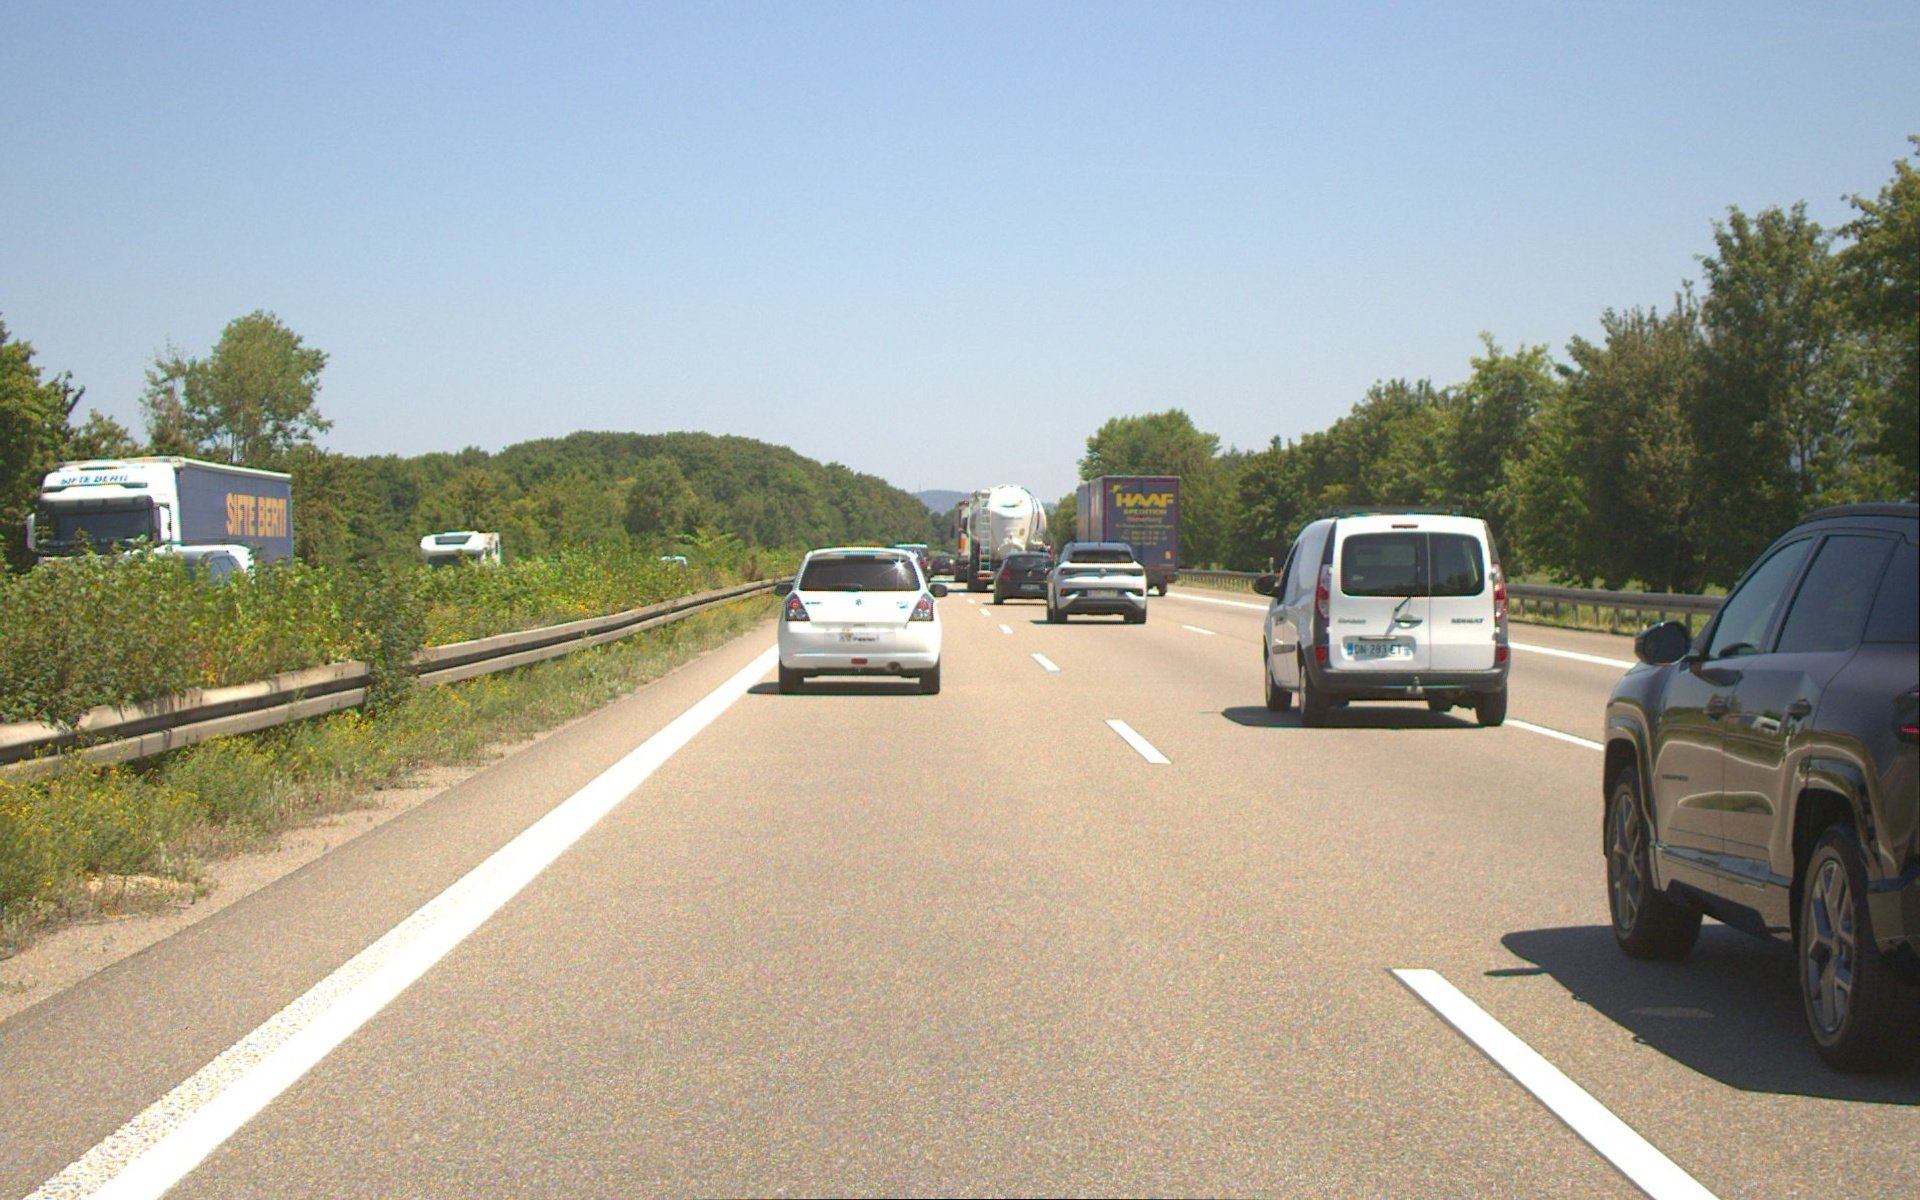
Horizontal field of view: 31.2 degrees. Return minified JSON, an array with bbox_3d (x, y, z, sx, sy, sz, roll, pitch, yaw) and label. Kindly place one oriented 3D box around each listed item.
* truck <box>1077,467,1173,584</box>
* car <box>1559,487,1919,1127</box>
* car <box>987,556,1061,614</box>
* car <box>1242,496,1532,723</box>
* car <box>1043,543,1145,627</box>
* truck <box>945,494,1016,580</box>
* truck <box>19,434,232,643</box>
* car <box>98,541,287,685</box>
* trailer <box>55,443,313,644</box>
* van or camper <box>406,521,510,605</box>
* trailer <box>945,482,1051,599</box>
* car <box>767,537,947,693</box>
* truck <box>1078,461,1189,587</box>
[{"bbox_3d":[6.031,-2.698,126.542,3.109,4.124,8.056,1,1,0],"label":"truck"},{"bbox_3d":[3.370,0.527,11.352,1.867,1.669,4.746,1,1,-1],"label":"car"},{"bbox_3d":[1.689,-0.421,92.491,1.850,1.518,3.957,1,1,-1],"label":"car"},{"bbox_3d":[3.744,0.049,30.955,1.853,1.856,4.703,1,1,-2],"label":"car"},{"bbox_3d":[2.657,-0.313,69.069,1.802,1.597,4.381,1,1,-1],"label":"car"},{"bbox_3d":[1.040,-3.191,175.481,3.394,4.199,12.083,1,1,0],"label":"truck"},{"bbox_3d":[-17.853,-1.224,73.931,3.006,4.197,6.311,-2,-1,-1],"label":"truck"},{"bbox_3d":[-11.613,0.156,52.304,1.993,2.066,4.714,1,1,-3],"label":"car"},{"bbox_3d":[-17.934,-1.128,80.564,2.977,4.197,13.735,-2,-1,-1],"label":"trailer"},{"bbox_3d":[-19.062,-1.415,130.993,2.850,2.959,7.447,-2,1,-1],"label":"van or camper"},{"bbox_3d":[1.312,-2.174,127.413,2.911,4.055,12.420,1,1,-4],"label":"trailer"},{"bbox_3d":[-1.081,0.132,36.603,1.799,1.546,3.610,1,1,-1],"label":"car"},{"bbox_3d":[6.005,-2.608,121.505,3.109,4.124,15.511,1,1,0],"label":"truck"}]
